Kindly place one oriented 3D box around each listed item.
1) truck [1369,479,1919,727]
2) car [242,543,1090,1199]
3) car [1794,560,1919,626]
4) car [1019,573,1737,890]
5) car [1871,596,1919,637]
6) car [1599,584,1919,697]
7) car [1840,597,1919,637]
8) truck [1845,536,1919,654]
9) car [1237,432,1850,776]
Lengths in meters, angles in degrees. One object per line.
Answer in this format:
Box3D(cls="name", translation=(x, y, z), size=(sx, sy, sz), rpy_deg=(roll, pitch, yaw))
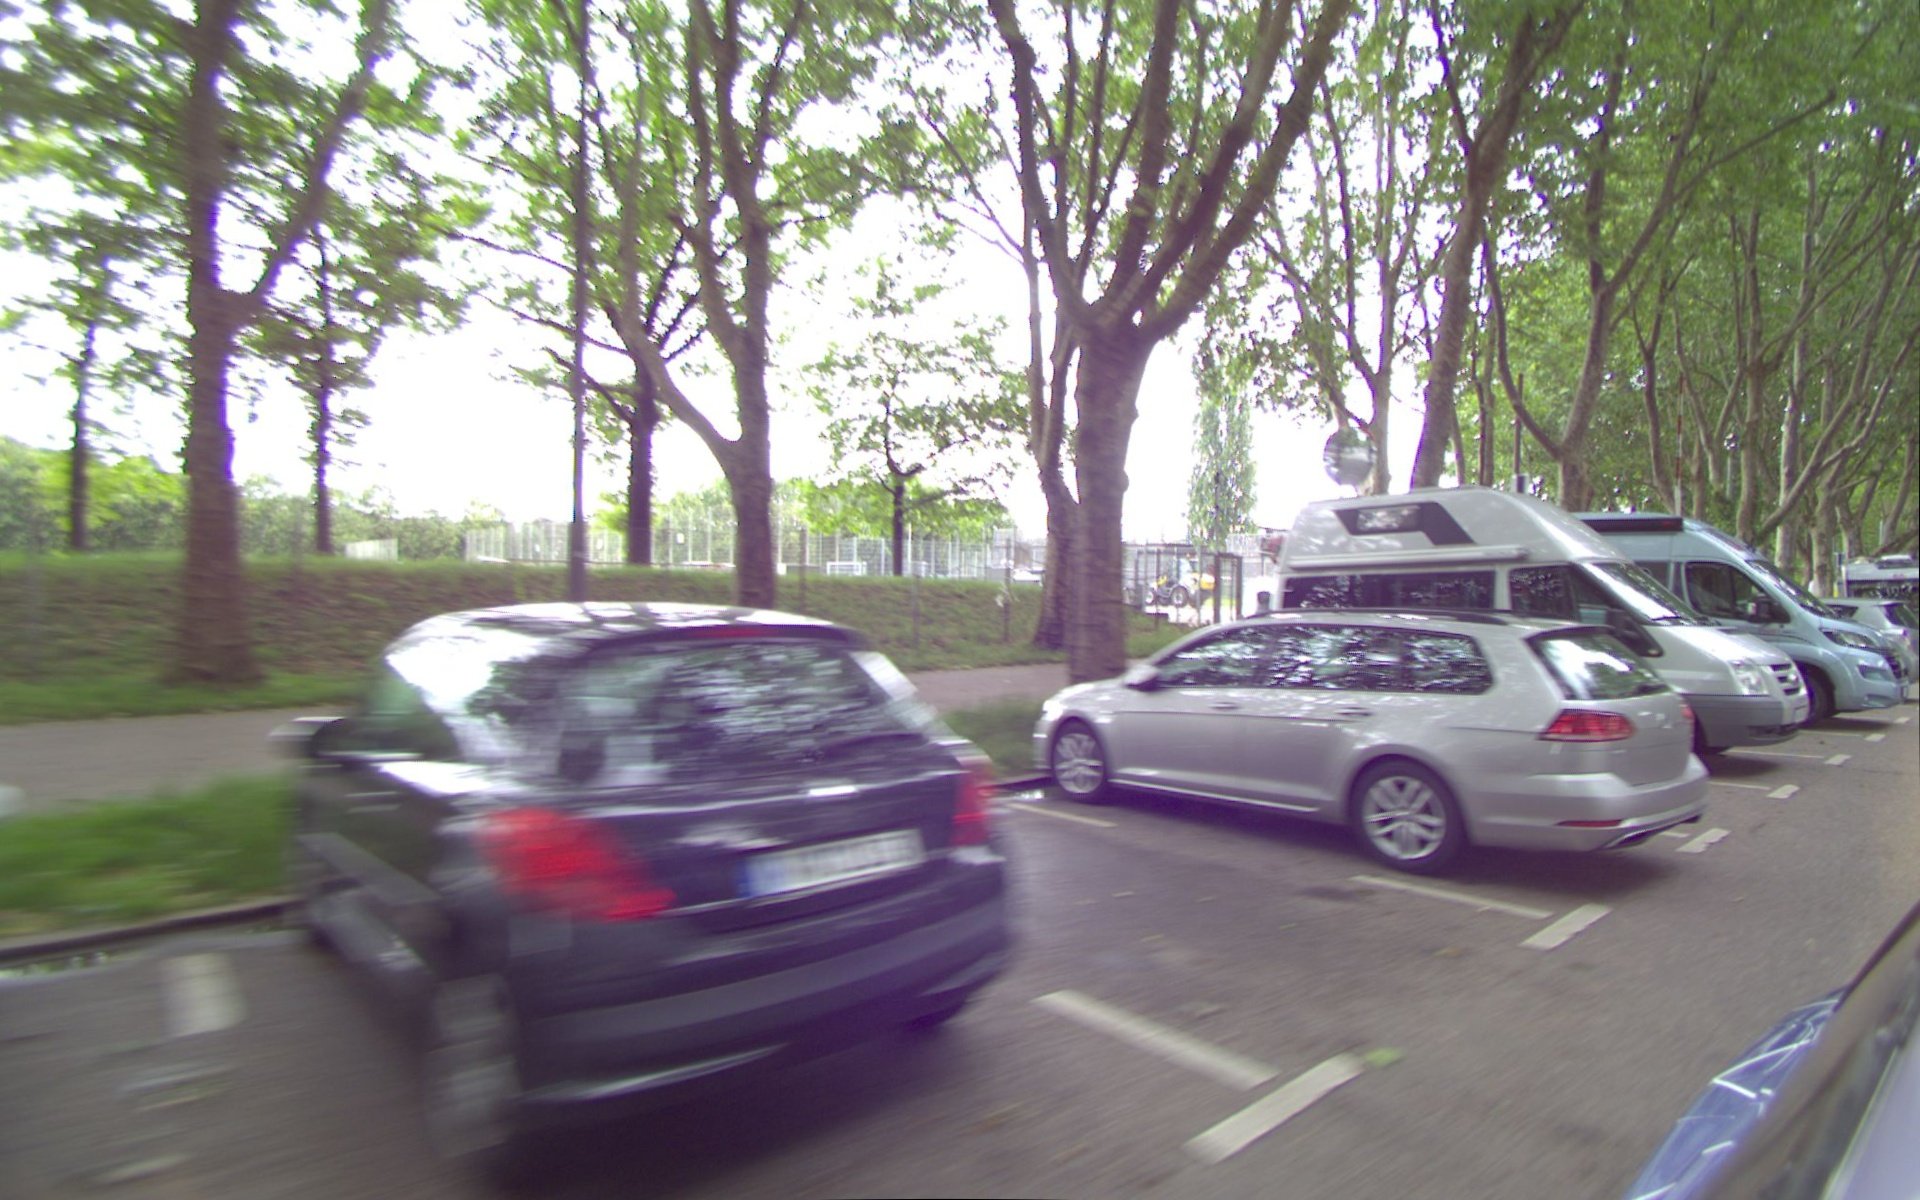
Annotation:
Box3D(cls="truck", translation=(9.286, 0.014, 14.317), size=(2.060, 2.749, 6.307), rpy_deg=(0, 0, -39))
Box3D(cls="car", translation=(-1.586, 0.647, 4.183), size=(1.784, 1.545, 4.049), rpy_deg=(0, 0, -42))
Box3D(cls="car", translation=(40.274, -0.291, 43.397), size=(6.876, 2.729, 2.095), rpy_deg=(0, 0, 42))
Box3D(cls="car", translation=(2.408, 0.650, 6.779), size=(1.672, 1.447, 4.128), rpy_deg=(-1, -1, -39))
Box3D(cls="car", translation=(36.012, 0.600, 36.634), size=(4.348, 1.464, 1.591), rpy_deg=(0, 0, 37))
Box3D(cls="car", translation=(13.412, 0.613, 16.854), size=(1.770, 1.638, 4.350), rpy_deg=(0, -1, -38))
Box3D(cls="car", translation=(31.896, 0.552, 33.235), size=(1.670, 1.318, 4.328), rpy_deg=(0, 0, -40))
Box3D(cls="truck", translation=(26.499, -0.133, 28.302), size=(2.455, 2.975, 7.428), rpy_deg=(0, 0, 40))
Box3D(cls="car", translation=(5.706, 0.038, 10.633), size=(1.922, 2.723, 5.238), rpy_deg=(0, 0, -40))
